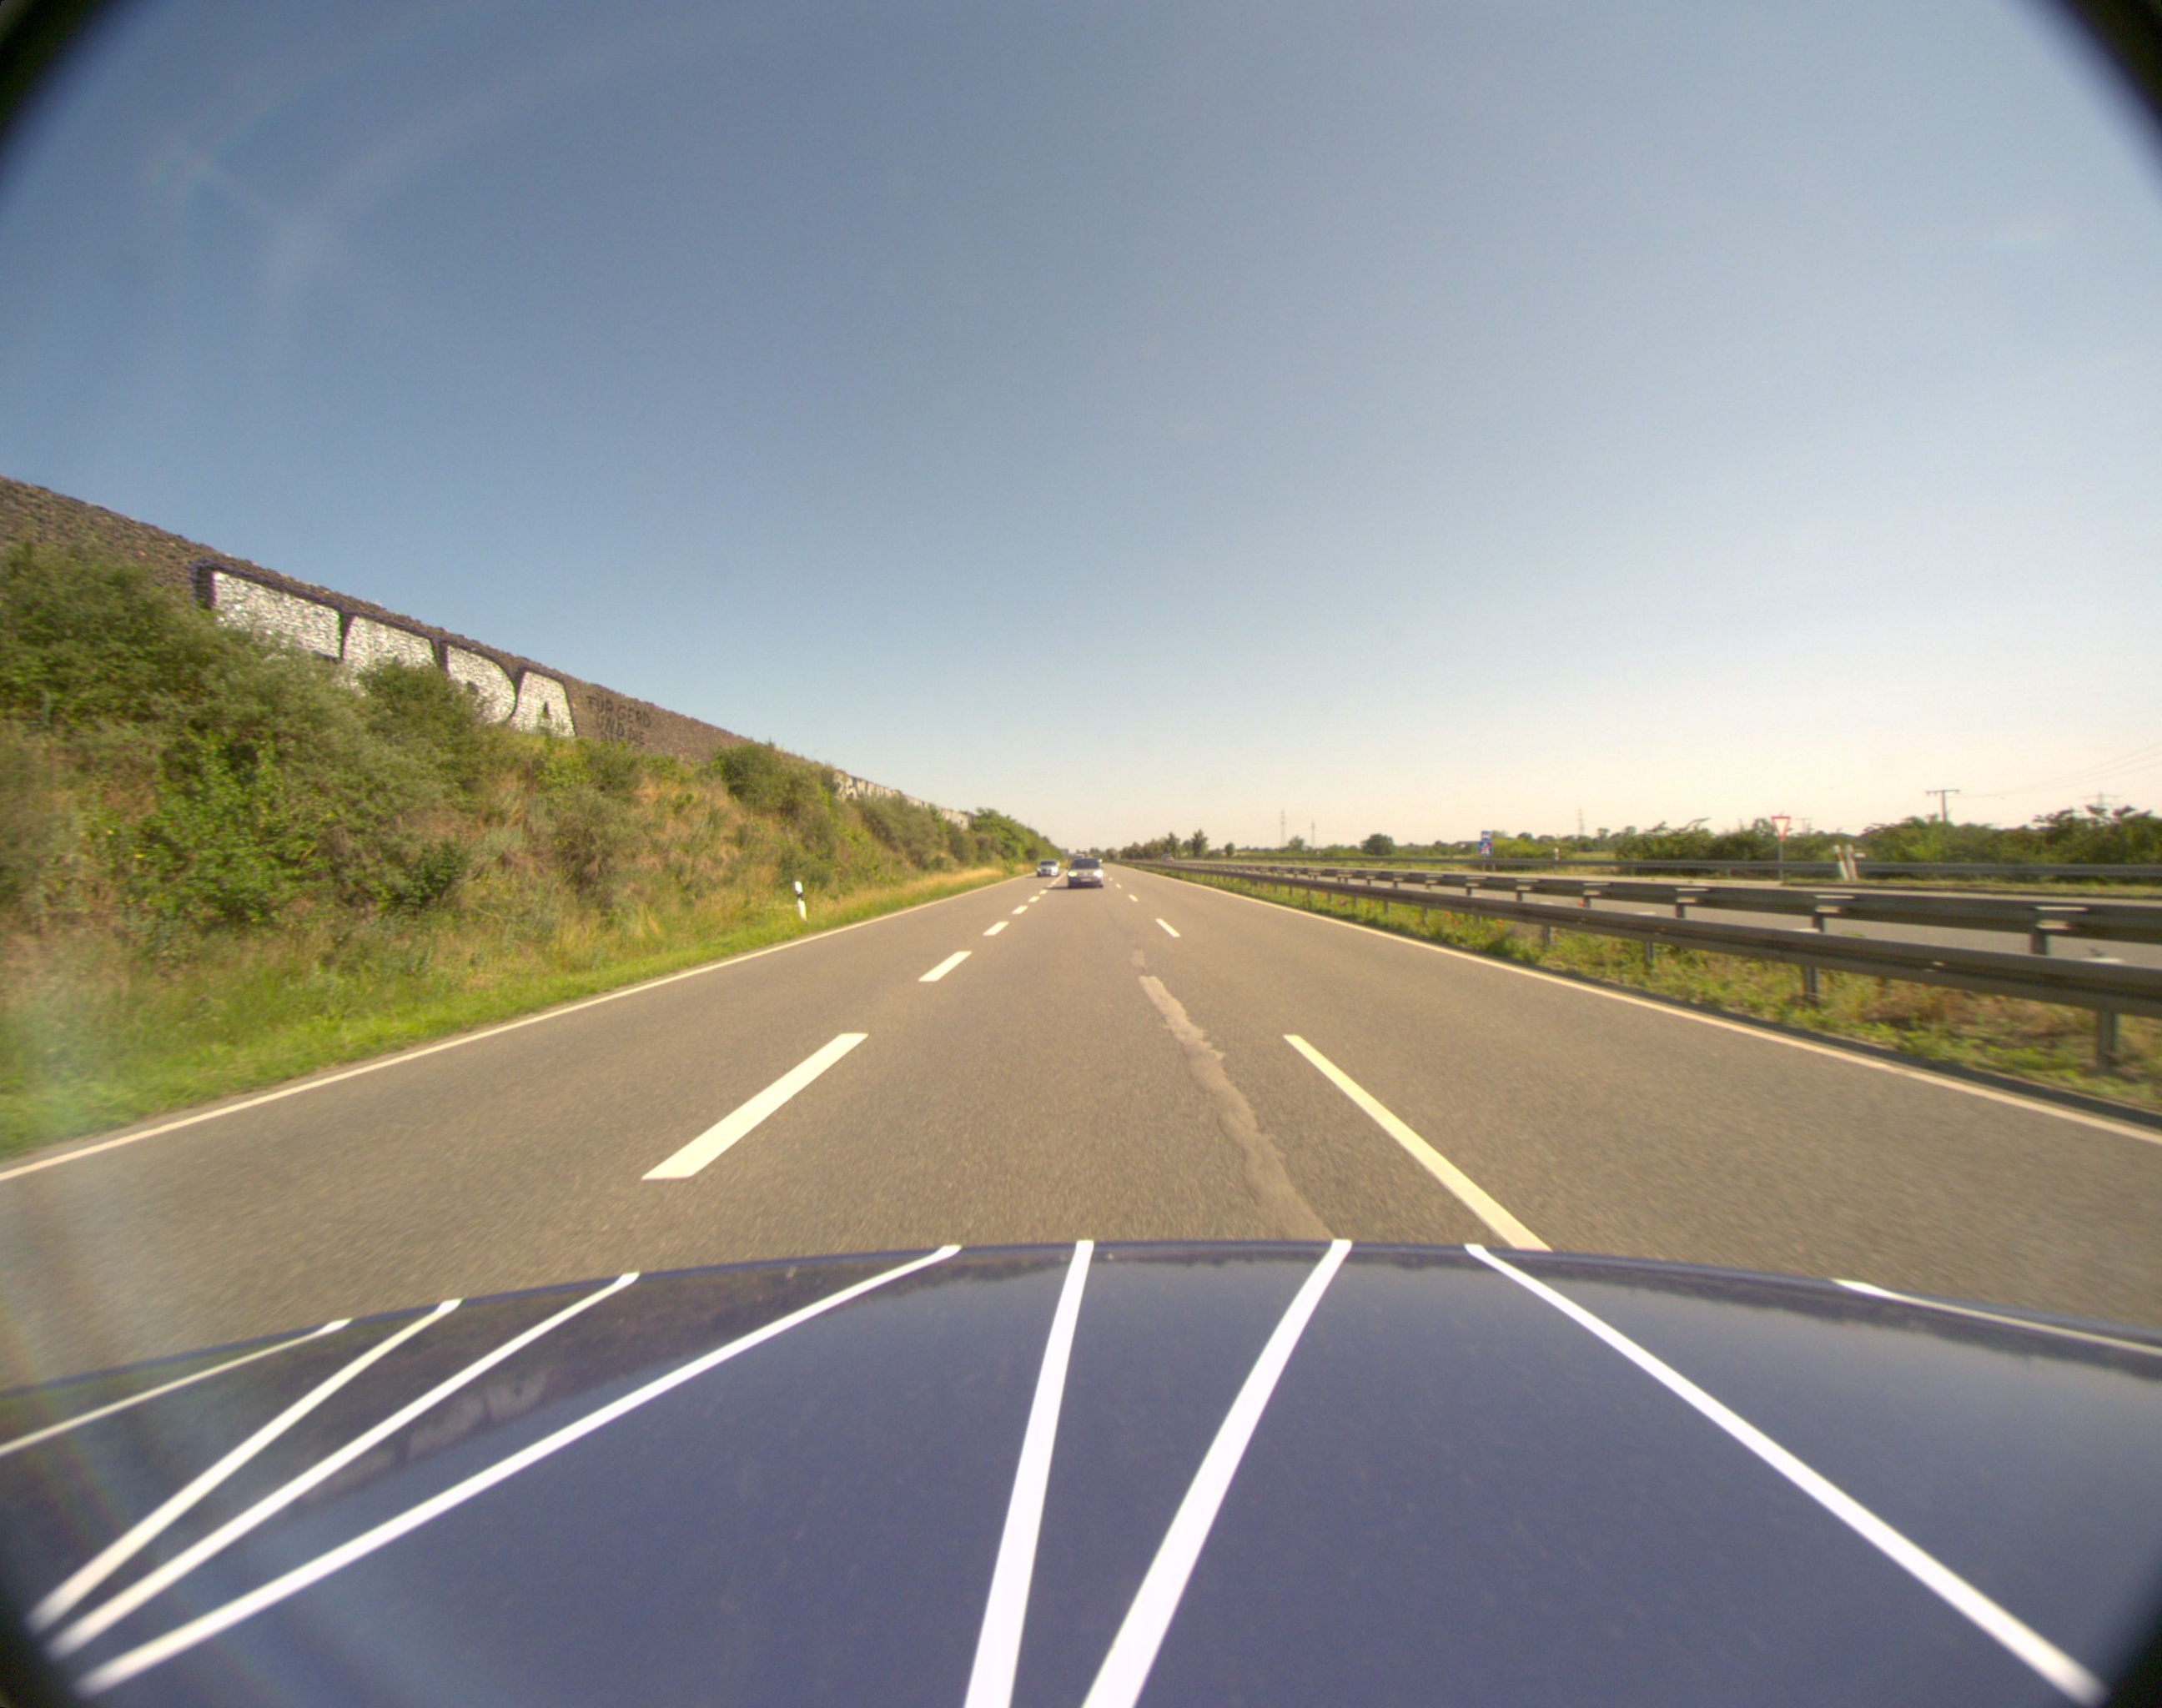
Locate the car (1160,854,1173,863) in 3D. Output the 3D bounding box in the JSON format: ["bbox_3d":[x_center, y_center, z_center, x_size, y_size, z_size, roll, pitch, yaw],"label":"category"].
[{"bbox_3d":[15.292,0.766,135.824,1.704,1.476,4.620,-4,0,0],"label":"car"}]

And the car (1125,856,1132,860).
[{"bbox_3d":[16.378,1.294,261.126,1.872,1.426,4.935,-4,0,0],"label":"car"}]

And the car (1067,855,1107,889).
[{"bbox_3d":[0.370,0.897,39.463,1.854,1.635,4.001,-2,0,3],"label":"car"}]

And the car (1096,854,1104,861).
[{"bbox_3d":[4.703,0.954,189.805,1.790,1.659,3.999,-2,0,-1],"label":"car"}]

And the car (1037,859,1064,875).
[{"bbox_3d":[-2.603,1.107,65.410,1.854,1.212,4.001,-2,0,3],"label":"car"}]

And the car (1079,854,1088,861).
[{"bbox_3d":[0.488,0.702,151.271,1.790,1.212,3.999,-2,0,-1],"label":"car"}]
